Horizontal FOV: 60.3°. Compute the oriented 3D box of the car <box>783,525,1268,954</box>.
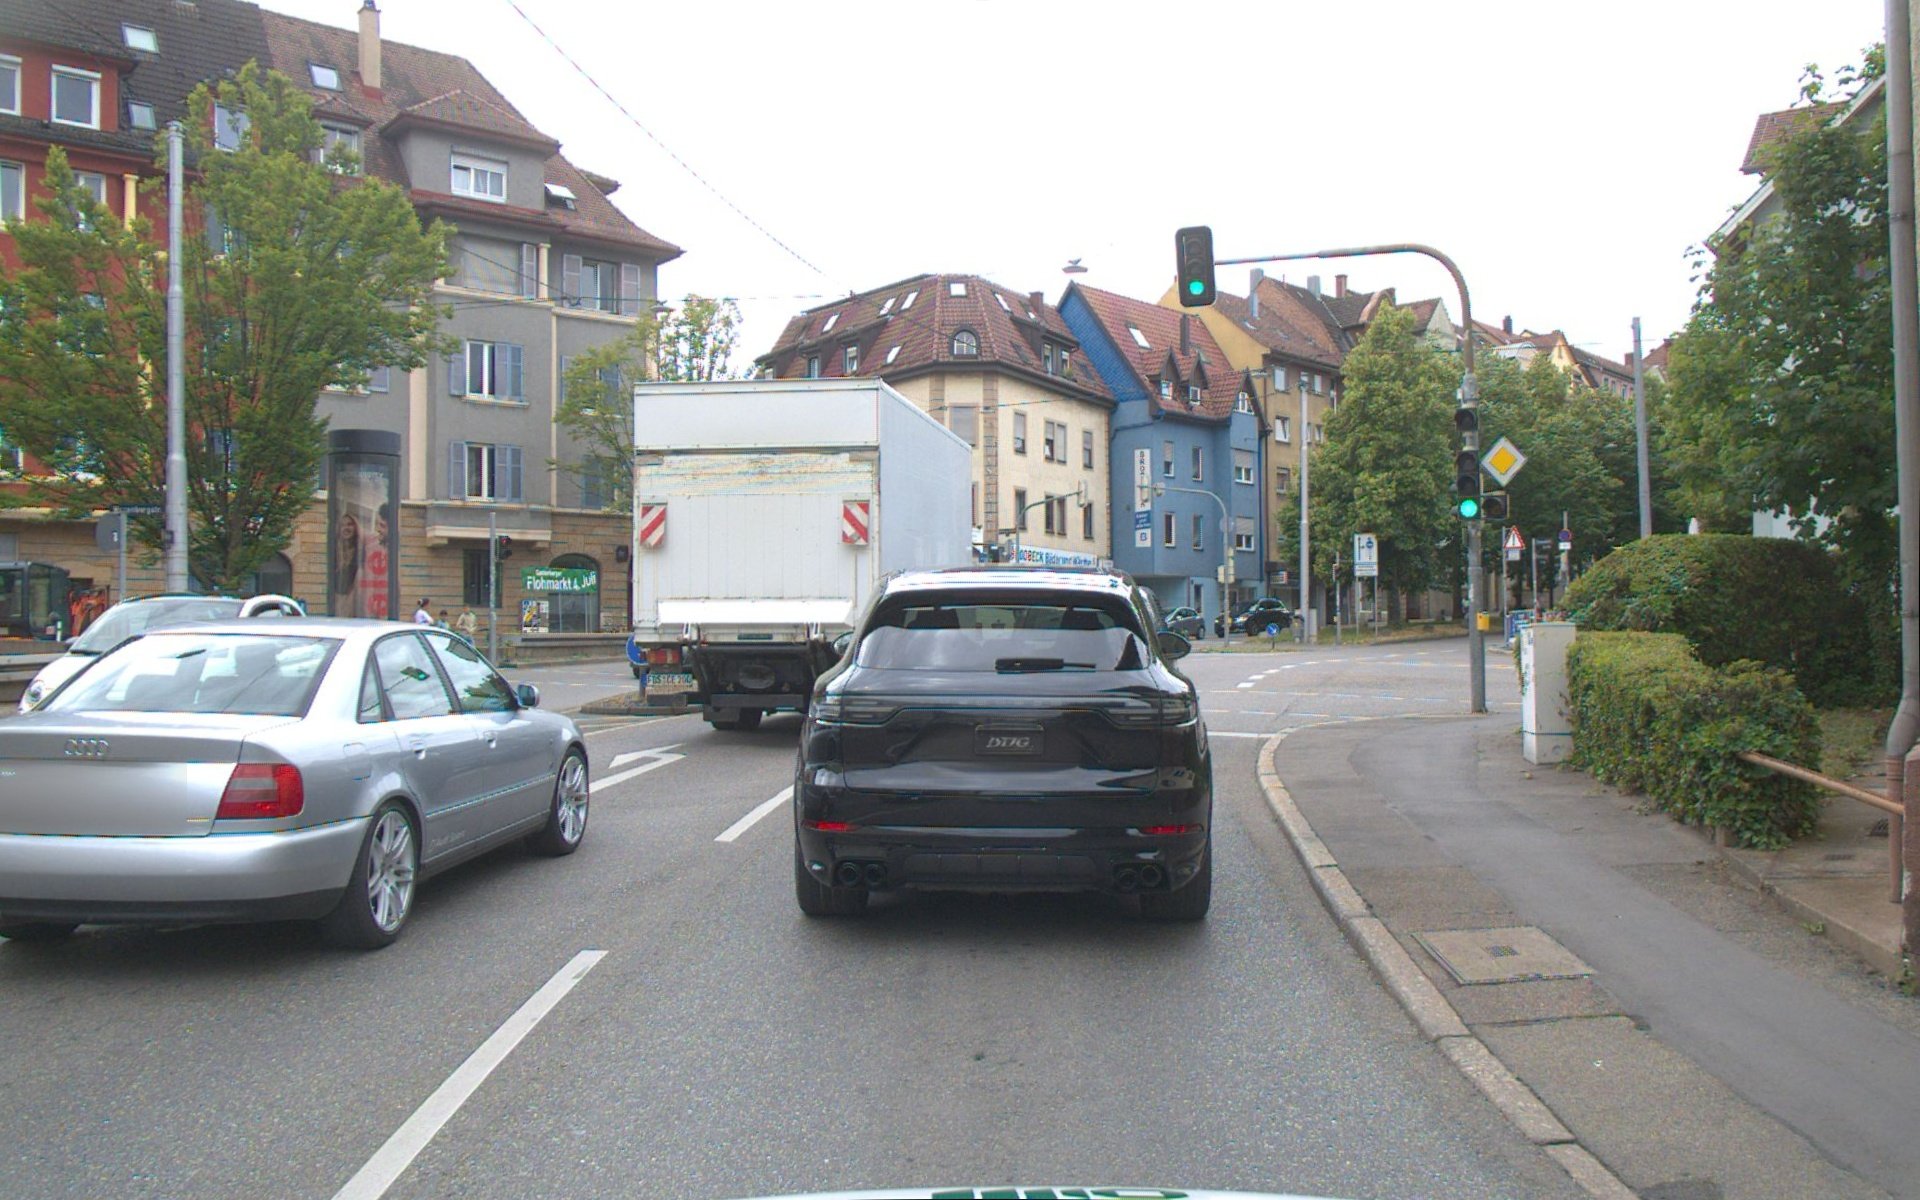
[{"bbox_3d":[0.240,0.556,9.082,1.990,1.753,4.499,1,1,-1],"label":"car"}]

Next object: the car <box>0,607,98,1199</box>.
[{"bbox_3d":[-2.663,0.749,0.861,1.953,1.454,4.841,0,0,-1],"label":"car"}]

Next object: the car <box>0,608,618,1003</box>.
[{"bbox_3d":[-3.053,0.770,8.117,1.594,1.389,4.130,-1,0,4],"label":"car"}]

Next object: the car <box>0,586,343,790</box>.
[{"bbox_3d":[-6.711,0.664,14.032,1.565,1.472,3.530,-2,0,0],"label":"car"}]

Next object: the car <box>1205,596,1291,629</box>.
[{"bbox_3d":[13.280,0.580,76.123,1.841,1.441,4.674,-2,-2,39],"label":"car"}]

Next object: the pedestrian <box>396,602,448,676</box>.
[{"bbox_3d":[-11.619,0.830,35.732,0.777,1.573,0.737,0,0,27],"label":"pedestrian"}]

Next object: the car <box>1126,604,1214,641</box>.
[{"bbox_3d":[9.023,0.935,70.823,1.691,1.502,4.194,-2,-2,41],"label":"car"}]

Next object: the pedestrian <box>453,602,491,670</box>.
[{"bbox_3d":[-10.986,0.804,37.228,0.511,1.513,0.653,-1,0,24],"label":"pedestrian"}]

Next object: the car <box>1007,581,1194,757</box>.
[{"bbox_3d":[1.528,0.642,16.898,1.613,1.583,3.586,0,0,9],"label":"car"}]

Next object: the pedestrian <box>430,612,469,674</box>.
[{"bbox_3d":[-11.303,0.943,36.633,0.563,1.361,0.583,-1,0,28],"label":"pedestrian"}]

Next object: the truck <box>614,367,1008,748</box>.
[{"bbox_3d":[-1.331,-0.430,20.033,2.667,3.606,8.428,1,0,9],"label":"truck"}]

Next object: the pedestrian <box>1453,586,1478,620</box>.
[{"bbox_3d":[30.710,0.158,100.576,1.173,2.049,0.984,0,0,39],"label":"pedestrian"}]

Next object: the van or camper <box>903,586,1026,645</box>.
[{"bbox_3d":[0.121,0.552,59.922,1.979,2.049,4.766,1,-1,-37],"label":"van or camper"}]

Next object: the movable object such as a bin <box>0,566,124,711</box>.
[{"bbox_3d":[-13.946,0.554,25.115,1.351,2.049,3.525,-1,0,-12],"label":"movable object such as a bin"}]
